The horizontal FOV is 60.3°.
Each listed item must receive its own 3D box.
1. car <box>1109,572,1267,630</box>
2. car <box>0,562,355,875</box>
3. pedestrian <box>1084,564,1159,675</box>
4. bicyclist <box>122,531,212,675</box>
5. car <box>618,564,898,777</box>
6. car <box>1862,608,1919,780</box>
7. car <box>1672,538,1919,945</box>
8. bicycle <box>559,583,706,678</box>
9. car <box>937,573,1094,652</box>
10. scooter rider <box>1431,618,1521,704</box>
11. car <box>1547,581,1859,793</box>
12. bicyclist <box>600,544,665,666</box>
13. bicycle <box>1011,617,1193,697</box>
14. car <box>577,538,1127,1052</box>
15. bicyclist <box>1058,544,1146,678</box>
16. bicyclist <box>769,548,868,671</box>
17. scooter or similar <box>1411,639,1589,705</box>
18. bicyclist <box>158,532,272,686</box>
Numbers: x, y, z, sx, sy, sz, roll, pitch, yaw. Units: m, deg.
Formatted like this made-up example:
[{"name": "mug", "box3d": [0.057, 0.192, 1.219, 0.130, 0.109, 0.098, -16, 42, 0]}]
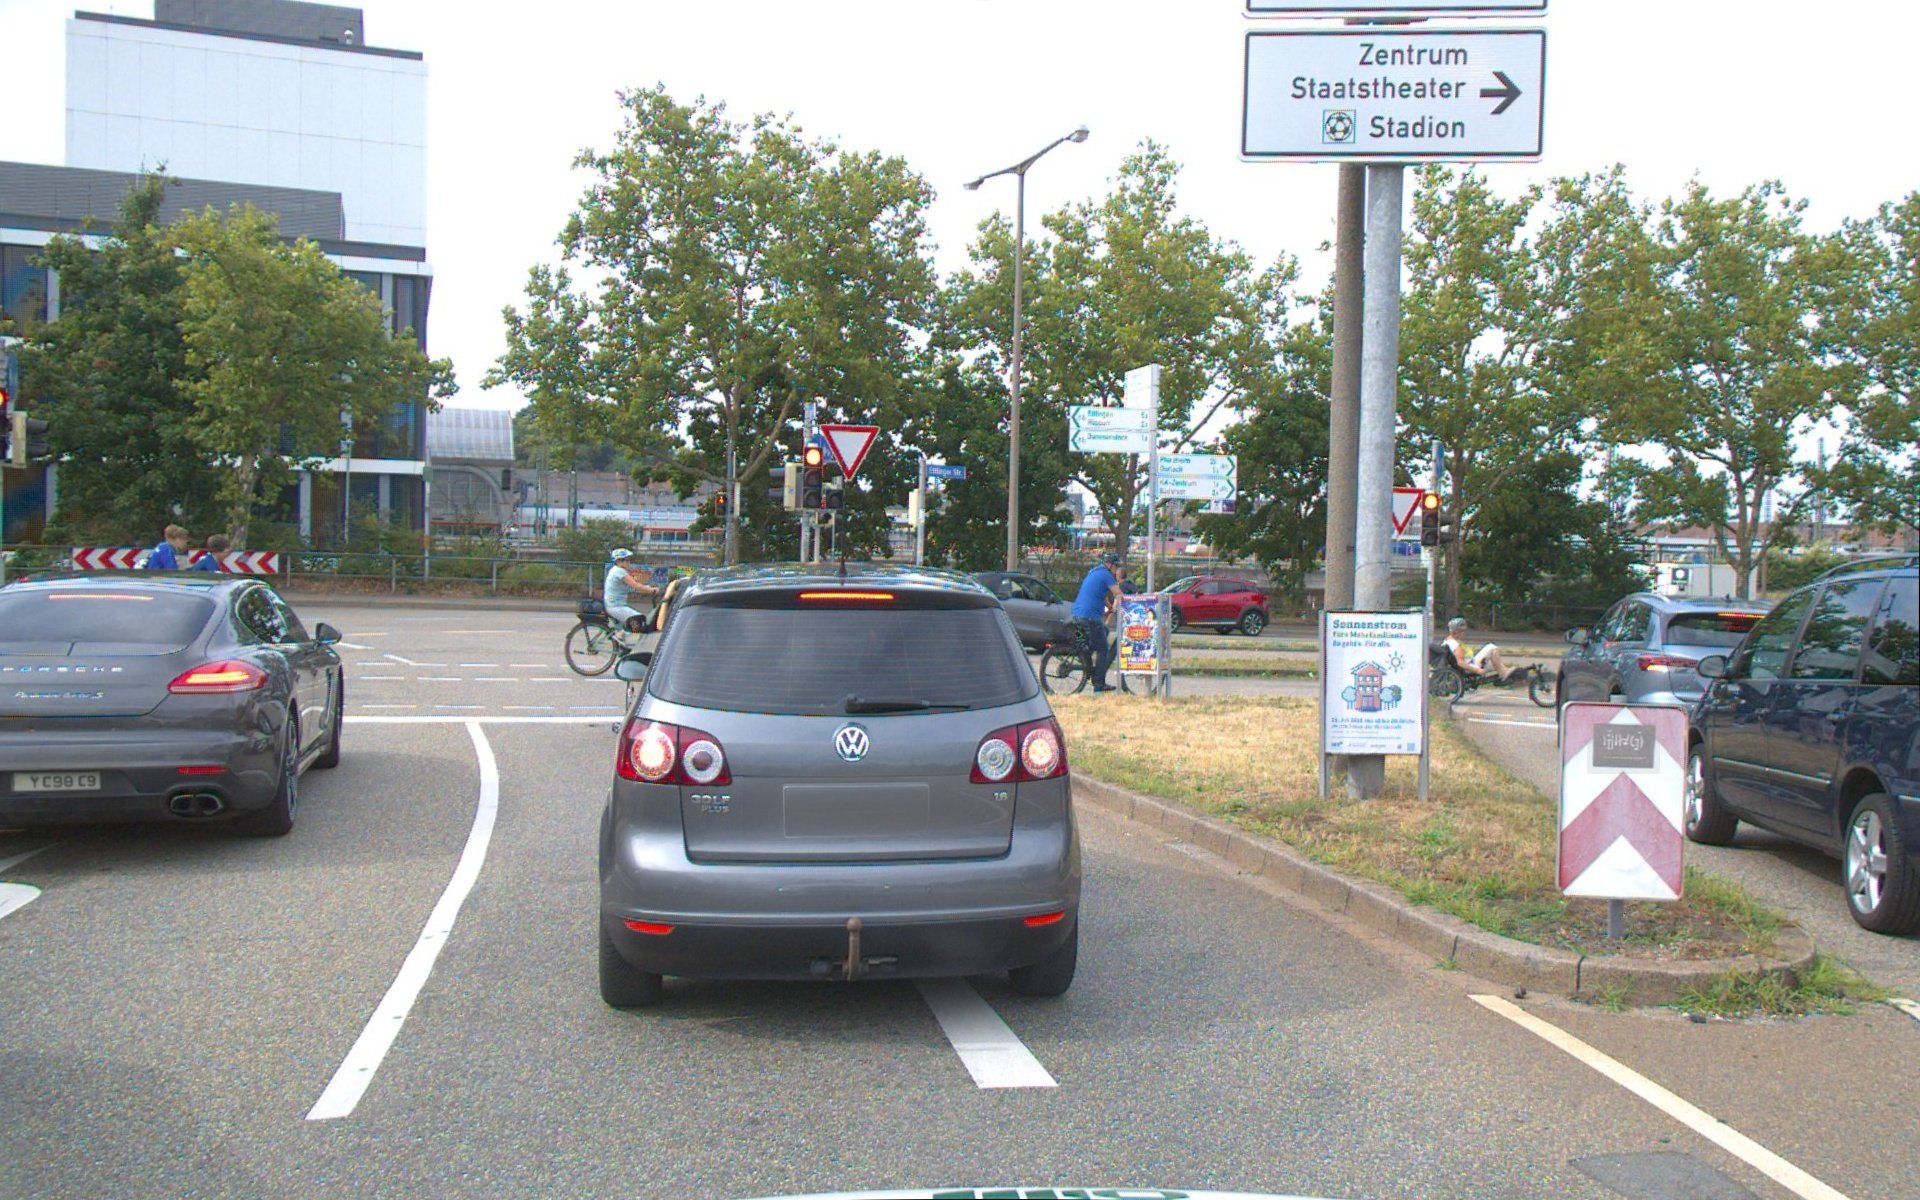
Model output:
[{"name": "car", "box3d": [6.099, 0.025, 44.272, 3.894, 1.473, 1.692, 1, 1, -21]}, {"name": "car", "box3d": [-4.853, 0.519, 10.110, 1.789, 1.438, 4.756, 1, 1, -16]}, {"name": "pedestrian", "box3d": [2.636, 0.301, 26.940, 1.025, 1.740, 0.854, 2, 1, 17]}, {"name": "bicyclist", "box3d": [-8.735, 0.026, 18.248, 0.826, 1.556, 0.625, 1, 1, -21]}, {"name": "car", "box3d": [-1.841, 0.481, 13.908, 1.713, 1.508, 4.064, 1, 1, -16]}, {"name": "car", "box3d": [10.144, 0.960, 15.464, 1.713, 1.671, 4.141, 3, 0, 10]}, {"name": "car", "box3d": [5.258, 0.653, 8.680, 1.713, 1.754, 4.141, 3, 0, 9]}, {"name": "bicycle", "box3d": [-4.398, 0.410, 22.211, 1.871, 1.231, 0.640, 1, 1, -18]}, {"name": "car", "box3d": [1.065, 0.237, 31.927, 2.672, 1.447, 1.490, 1, 1, -22]}, {"name": "scooter rider", "box3d": [7.281, 0.851, 23.368, 0.898, 1.157, 0.805, 1, 1, -15]}, {"name": "car", "box3d": [6.730, 0.702, 15.439, 1.655, 1.613, 4.160, 3, 0, 11]}, {"name": "bicyclist", "box3d": [-4.398, 0.059, 22.189, 0.767, 1.608, 0.652, 1, 1, -18]}, {"name": "bicycle", "box3d": [1.826, 0.715, 21.260, 2.195, 0.969, 0.807, 1, 1, -20]}, {"name": "car", "box3d": [-0.613, 0.586, 7.209, 1.709, 1.573, 4.074, 1, 0, -9]}, {"name": "bicyclist", "box3d": [1.818, 0.136, 21.272, 0.867, 1.685, 0.807, 1, 1, -19]}, {"name": "bicyclist", "box3d": [-1.736, 0.109, 20.208, 1.095, 1.461, 0.645, 0, 1, -15]}, {"name": "scooter or similar", "box3d": [7.653, 1.011, 23.452, 2.339, 0.864, 0.805, 1, 1, -15]}, {"name": "bicyclist", "box3d": [-7.775, 0.087, 17.285, 1.000, 1.566, 0.625, 1, 1, -18]}]
